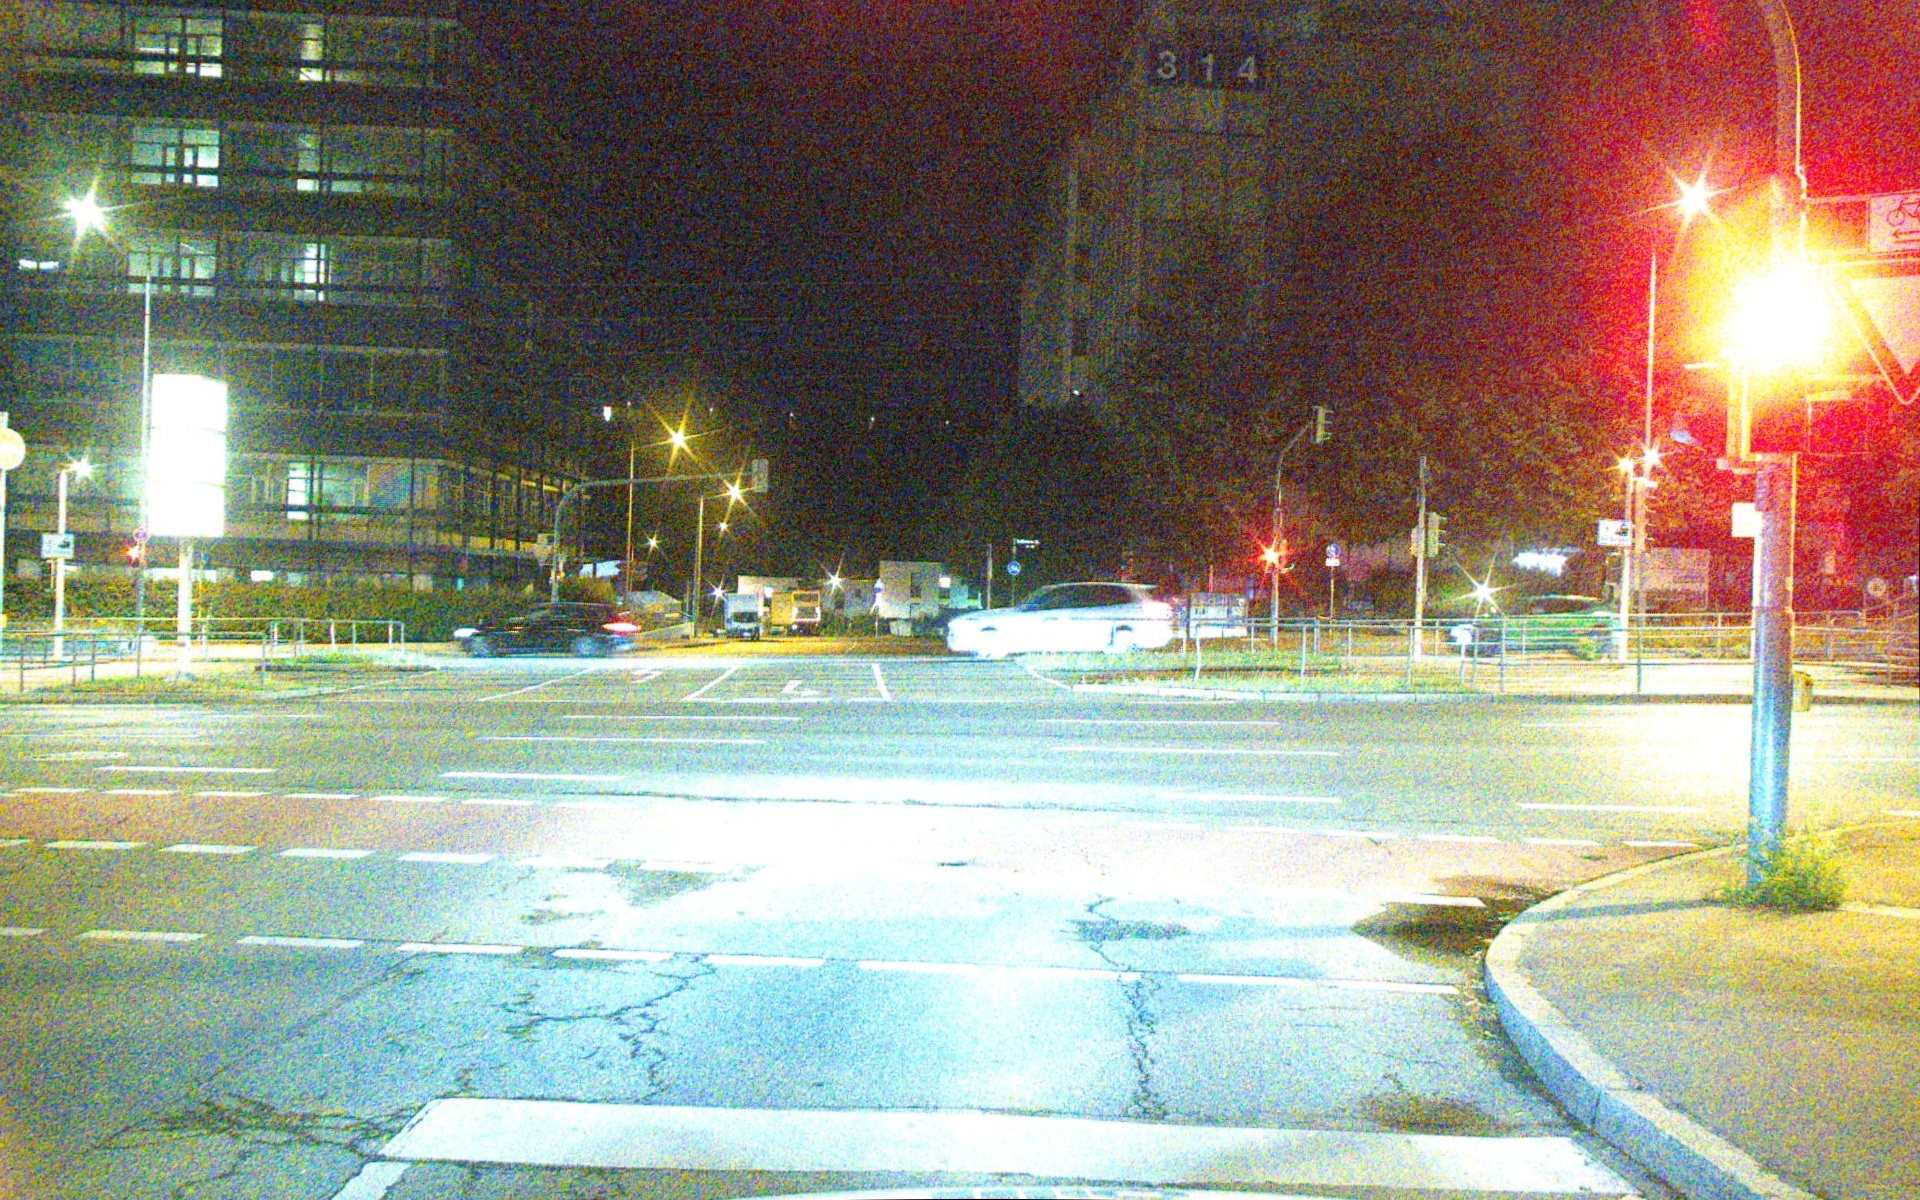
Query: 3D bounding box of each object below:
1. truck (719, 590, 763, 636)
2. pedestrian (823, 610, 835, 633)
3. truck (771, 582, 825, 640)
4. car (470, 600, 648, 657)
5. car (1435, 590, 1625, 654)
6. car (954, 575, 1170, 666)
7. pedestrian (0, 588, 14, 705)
[{"bbox_3d":[-15.865,0.971,119.495,2.377,3.143,6.414,2,-1,-14],"label":"truck"},{"bbox_3d":[-11.690,1.917,147.463,0.836,1.945,1.001,2,-1,-18],"label":"pedestrian"},{"bbox_3d":[-14.626,1.017,148.609,3.307,4.927,7.868,2,-1,-17],"label":"truck"},{"bbox_3d":[-10.573,0.759,43.813,4.237,1.412,1.843,-1,-1,2],"label":"car"},{"bbox_3d":[13.673,0.521,39.831,3.976,1.449,1.844,0,2,2],"label":"car"},{"bbox_3d":[2.280,0.457,37.113,4.680,1.876,1.843,1,-1,2],"label":"car"},{"bbox_3d":[-14.819,0.693,24.894,0.663,1.752,0.706,1,-1,25],"label":"pedestrian"}]
